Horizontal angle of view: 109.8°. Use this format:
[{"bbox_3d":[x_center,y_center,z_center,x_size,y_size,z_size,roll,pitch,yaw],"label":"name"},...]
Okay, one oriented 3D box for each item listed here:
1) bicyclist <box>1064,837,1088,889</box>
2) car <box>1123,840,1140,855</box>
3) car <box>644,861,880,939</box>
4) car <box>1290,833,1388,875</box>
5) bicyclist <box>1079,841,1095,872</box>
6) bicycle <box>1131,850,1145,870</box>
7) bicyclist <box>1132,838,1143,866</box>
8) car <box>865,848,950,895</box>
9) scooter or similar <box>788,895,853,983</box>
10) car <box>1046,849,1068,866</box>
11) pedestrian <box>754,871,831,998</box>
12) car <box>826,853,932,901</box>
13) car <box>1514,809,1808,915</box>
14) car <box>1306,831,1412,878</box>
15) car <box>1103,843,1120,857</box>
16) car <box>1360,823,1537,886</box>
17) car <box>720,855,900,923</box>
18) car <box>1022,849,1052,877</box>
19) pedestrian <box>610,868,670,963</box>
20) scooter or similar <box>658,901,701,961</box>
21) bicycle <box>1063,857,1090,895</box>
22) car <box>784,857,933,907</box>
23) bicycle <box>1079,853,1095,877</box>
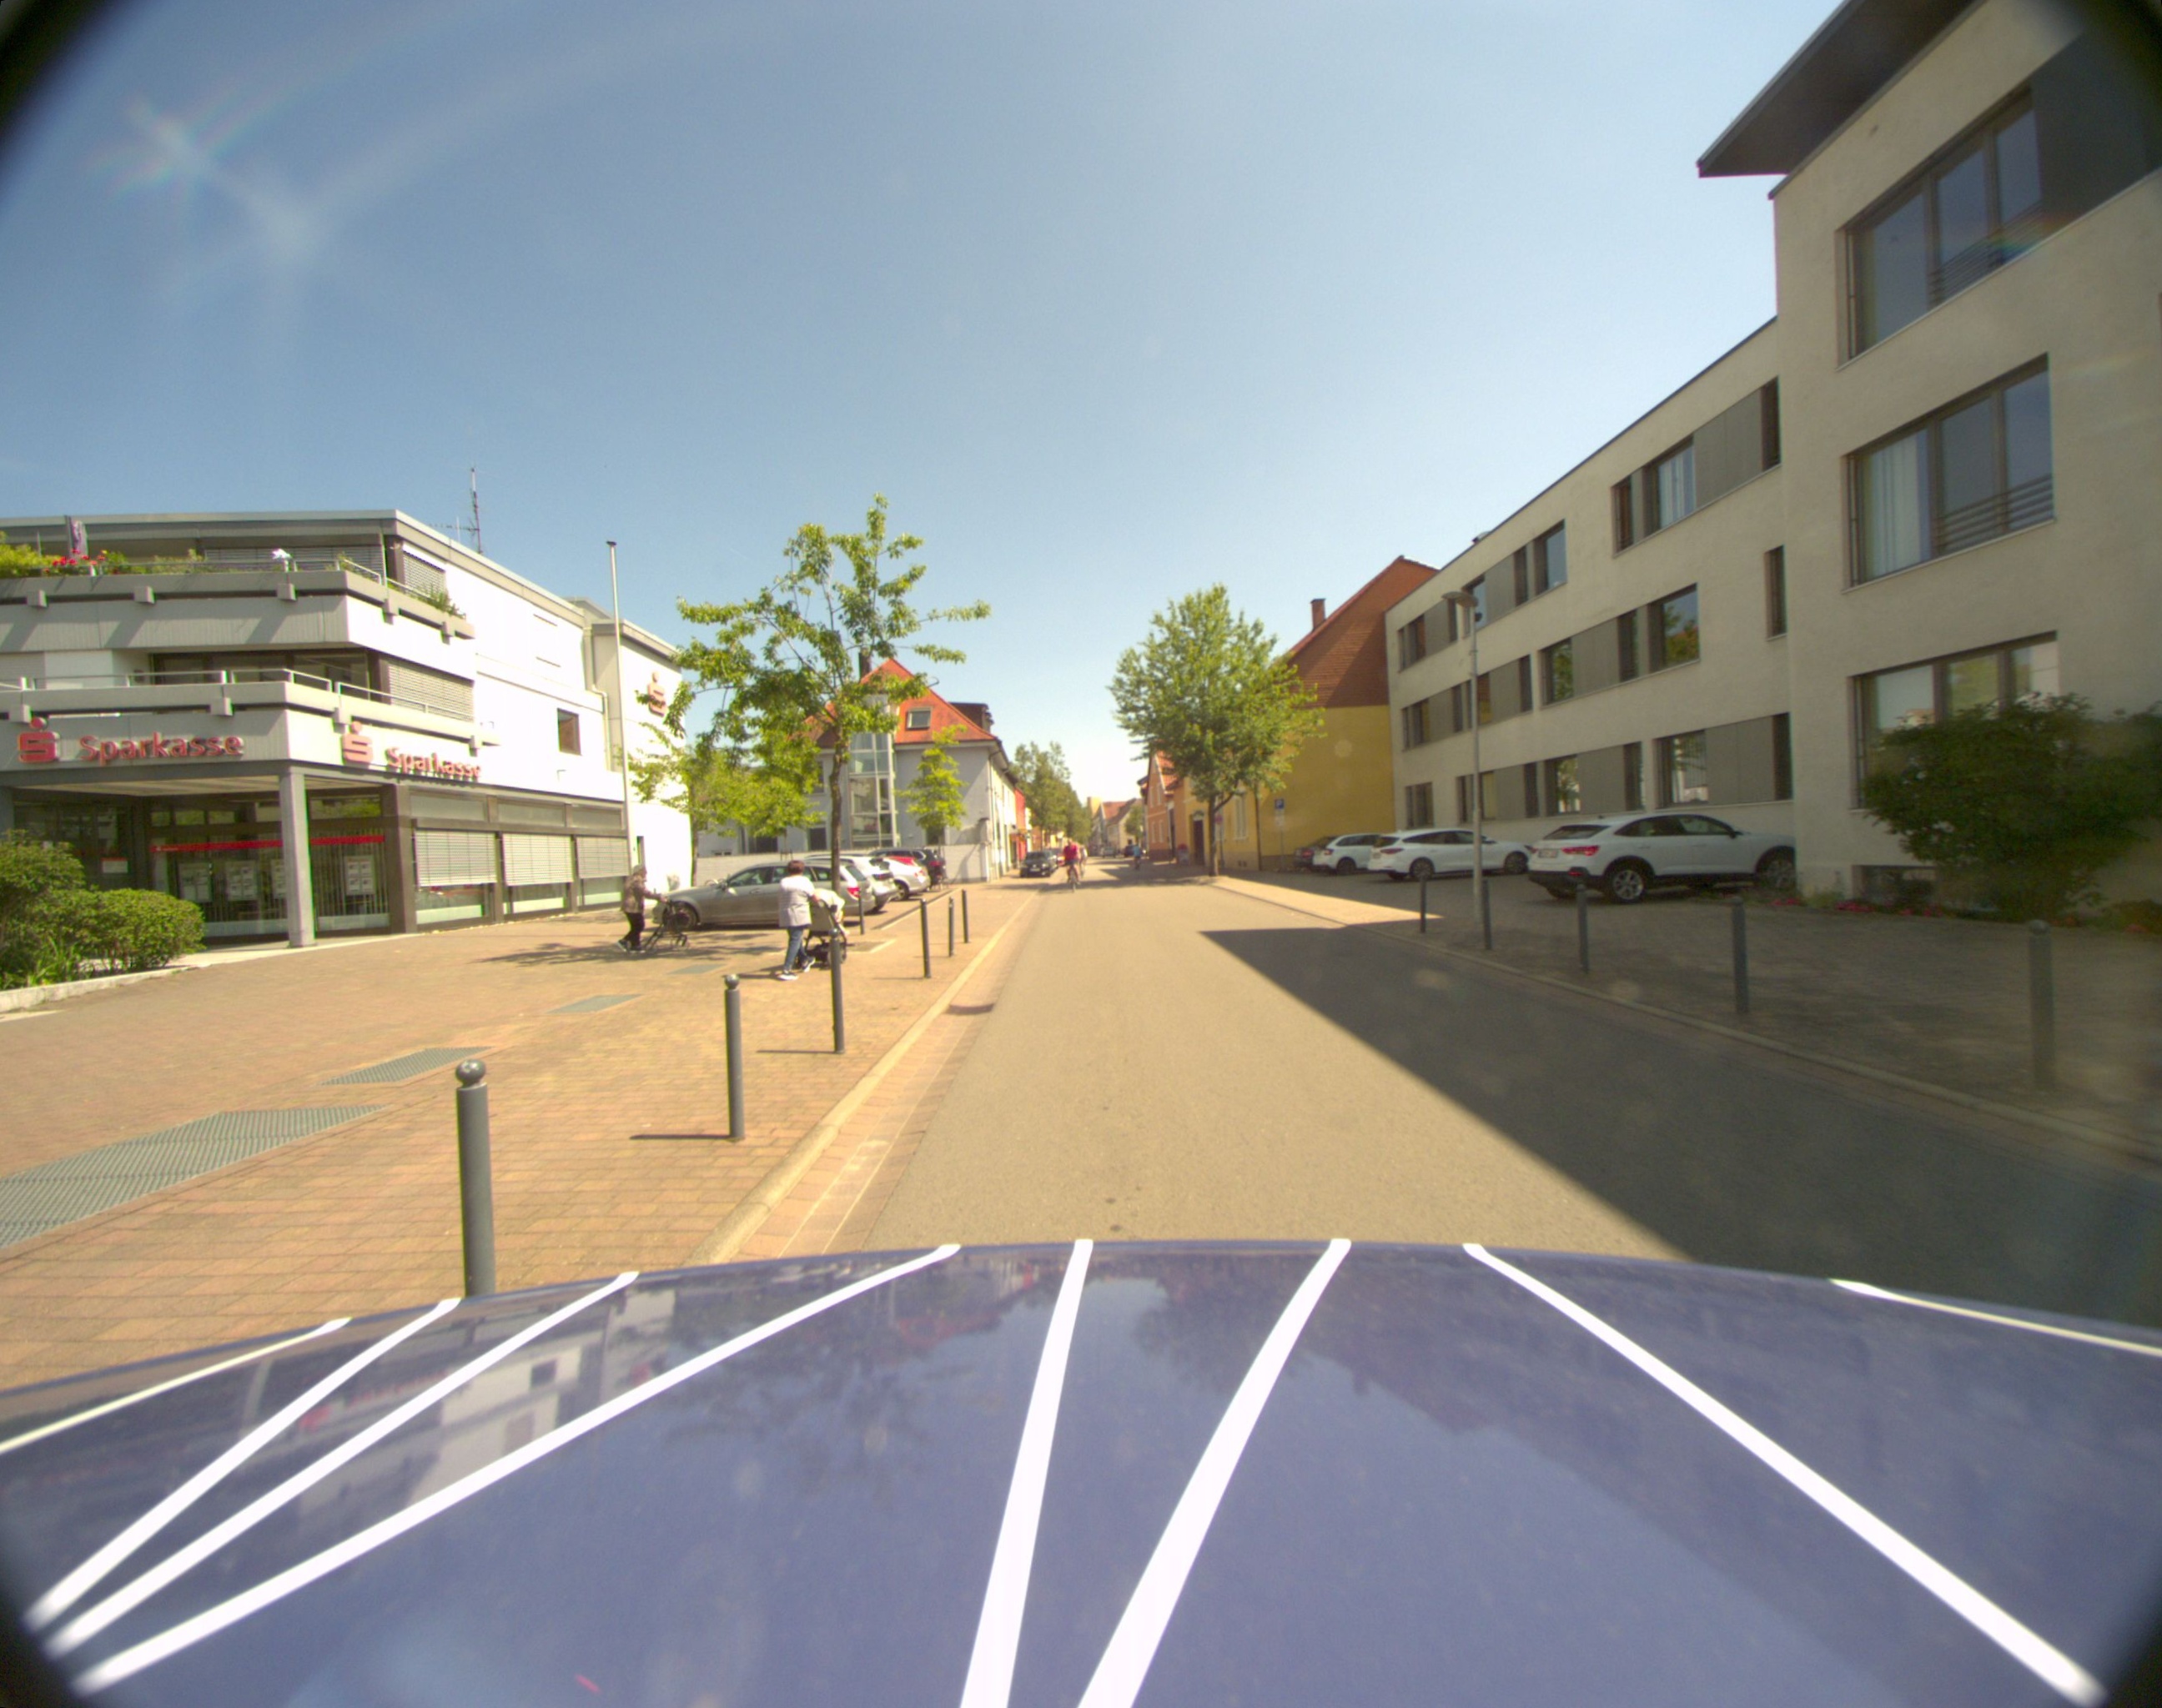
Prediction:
[{"bbox_3d":[-0.175,0.305,26.170,0.703,1.707,0.759,-4,2,-3],"label":"bicyclist"},{"bbox_3d":[6.603,-0.835,99.783,1.826,1.805,3.999,-2,1,-1],"label":"car"},{"bbox_3d":[-6.858,0.958,16.729,4.446,1.457,1.689,-1,2,-6],"label":"car"},{"bbox_3d":[9.966,-0.002,29.489,3.258,1.393,1.374,-4,1,-2],"label":"car"},{"bbox_3d":[0.288,0.128,39.674,0.703,1.573,0.878,-4,2,-3],"label":"bicyclist"},{"bbox_3d":[3.442,0.350,46.050,0.595,1.183,1.724,-3,1,-2],"label":"bicycle"},{"bbox_3d":[3.409,-0.126,46.032,0.538,1.630,0.551,-2,1,-2],"label":"bicyclist"},{"bbox_3d":[-6.703,0.652,29.553,3.041,1.727,1.344,-1,1,-5],"label":"car"},{"bbox_3d":[-3.607,1.160,10.565,0.505,1.112,0.909,-1,1,4],"label":"scooter or similar"},{"bbox_3d":[-1.968,0.241,61.922,1.530,1.298,3.248,-1,1,-6],"label":"car"},{"bbox_3d":[-3.665,0.984,9.734,0.512,1.507,1.048,-1,1,2],"label":"pedestrian"},{"bbox_3d":[-7.217,0.789,27.412,3.431,1.543,1.490,-2,1,-5],"label":"car"},{"bbox_3d":[10.395,0.118,13.823,3.997,1.539,1.748,-4,1,-2],"label":"car"},{"bbox_3d":[9.929,0.010,27.279,3.139,1.442,1.642,-4,1,1],"label":"car"},{"bbox_3d":[4.056,-0.580,101.421,1.999,1.696,3.999,-2,1,-1],"label":"car"},{"bbox_3d":[10.600,0.002,22.088,4.324,1.470,1.513,-4,1,0],"label":"car"},{"bbox_3d":[-6.865,0.847,19.595,4.047,1.550,1.711,-1,1,-6],"label":"car"},{"bbox_3d":[-2.510,0.478,42.589,1.530,1.444,3.519,-2,1,-5],"label":"car"},{"bbox_3d":[-7.311,1.001,12.620,0.725,1.492,0.531,-3,1,-22],"label":"pedestrian"},{"bbox_3d":[-6.769,1.287,12.837,0.547,0.940,0.535,-3,1,-22],"label":"scooter or similar"},{"bbox_3d":[-0.176,0.740,26.360,0.738,1.183,1.970,-4,1,-3],"label":"bicycle"},{"bbox_3d":[-7.167,0.873,24.878,4.446,1.434,1.655,-1,1,-8],"label":"car"},{"bbox_3d":[0.303,0.572,39.689,0.690,1.183,1.798,-4,1,-3],"label":"bicycle"}]
